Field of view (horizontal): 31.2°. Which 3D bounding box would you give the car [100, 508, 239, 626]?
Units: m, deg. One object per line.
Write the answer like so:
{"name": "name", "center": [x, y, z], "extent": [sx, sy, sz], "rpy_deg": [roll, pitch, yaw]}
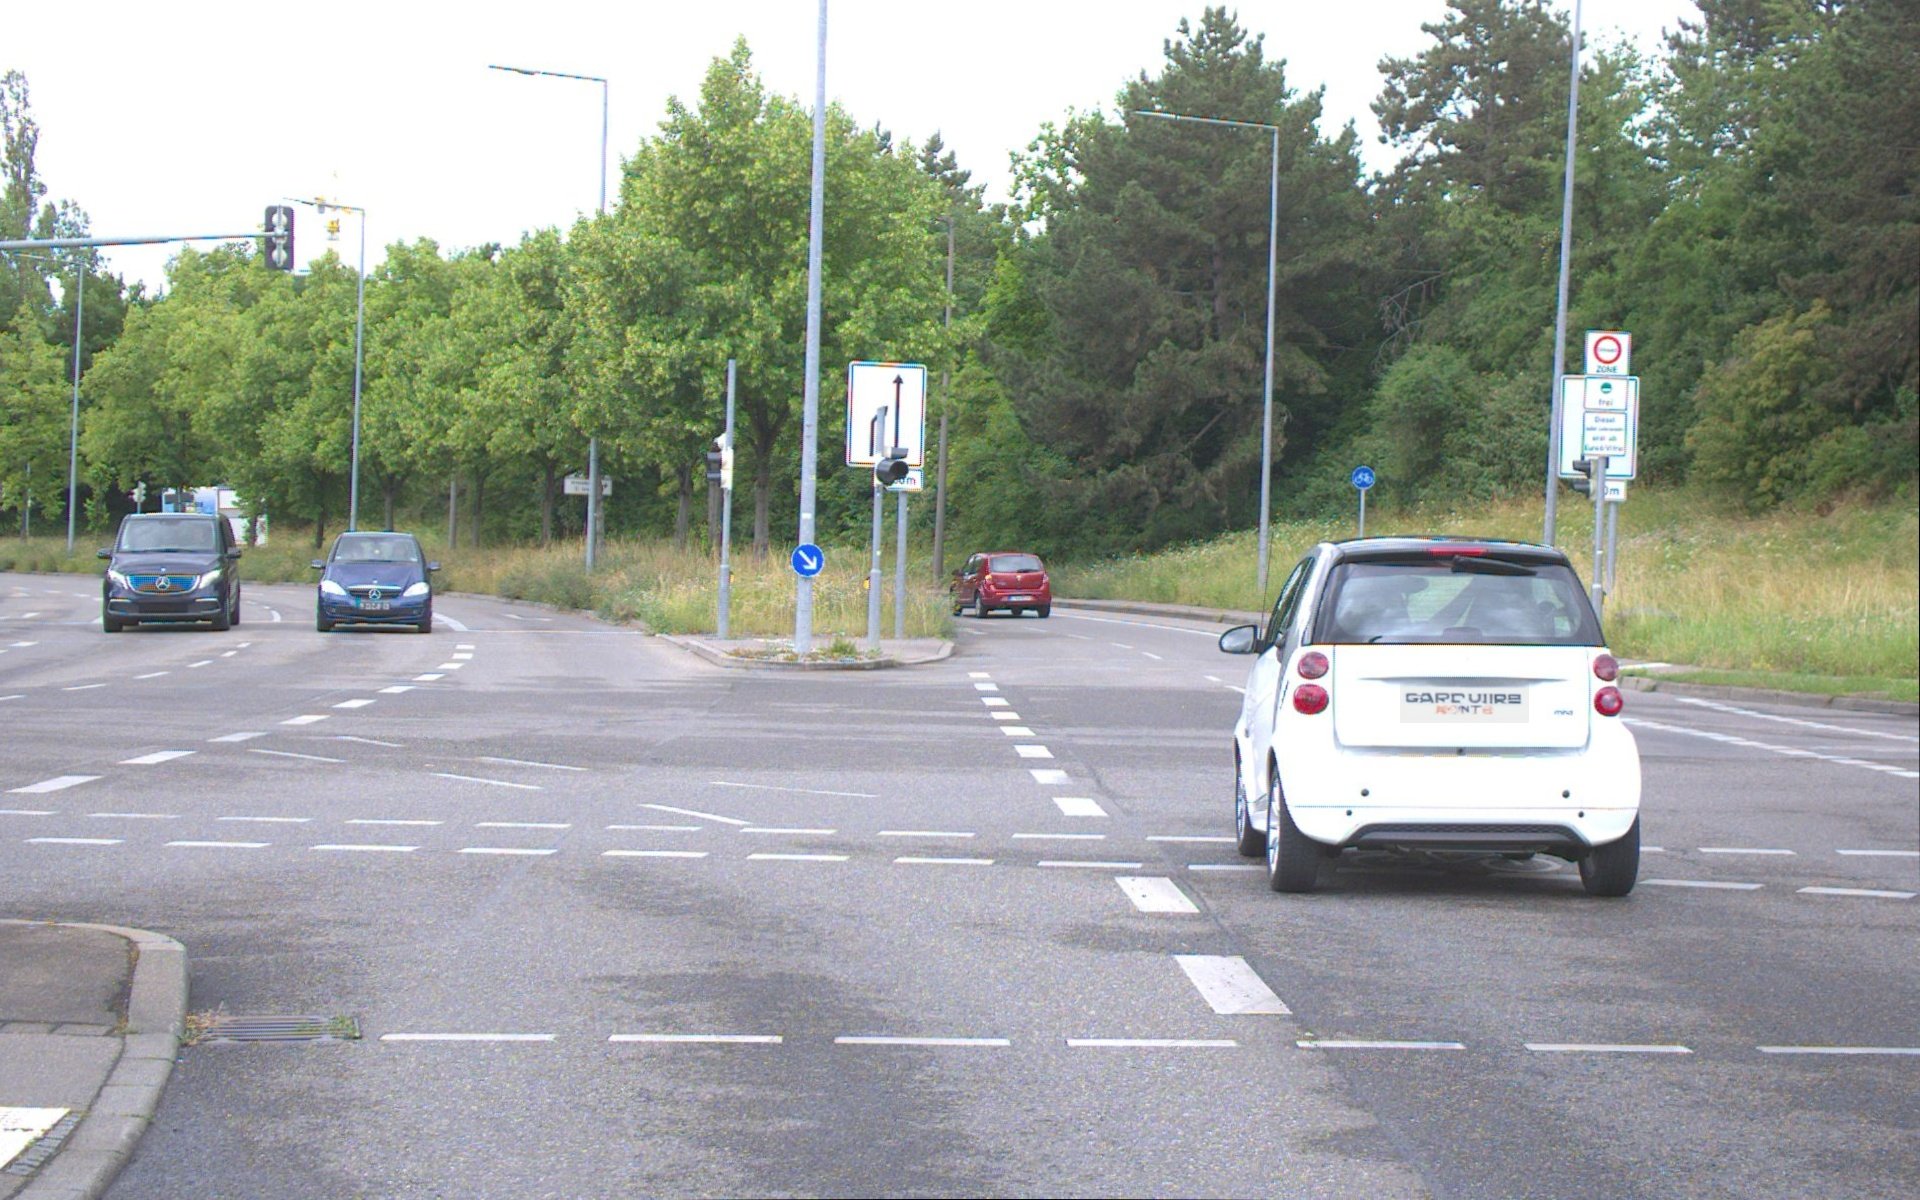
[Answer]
{"name": "car", "center": [-12.640, -0.545, 55.220], "extent": [1.887, 1.806, 5.094], "rpy_deg": [0, 1, -10]}

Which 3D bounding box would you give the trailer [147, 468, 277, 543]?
{"name": "trailer", "center": [-30.963, -3.895, 142.211], "extent": [2.747, 3.002, 6.085], "rpy_deg": [1, 1, -40]}

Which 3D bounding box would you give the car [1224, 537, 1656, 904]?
{"name": "car", "center": [2.115, 0.493, 15.766], "extent": [1.592, 1.511, 2.766], "rpy_deg": [1, 0, 0]}

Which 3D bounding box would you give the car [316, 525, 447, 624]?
{"name": "car", "center": [-9.168, -0.407, 54.692], "extent": [1.735, 1.503, 3.661], "rpy_deg": [1, 0, -5]}

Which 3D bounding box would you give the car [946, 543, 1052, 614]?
{"name": "car", "center": [0.884, -0.518, 80.304], "extent": [1.784, 1.598, 3.888], "rpy_deg": [1, 0, -10]}
